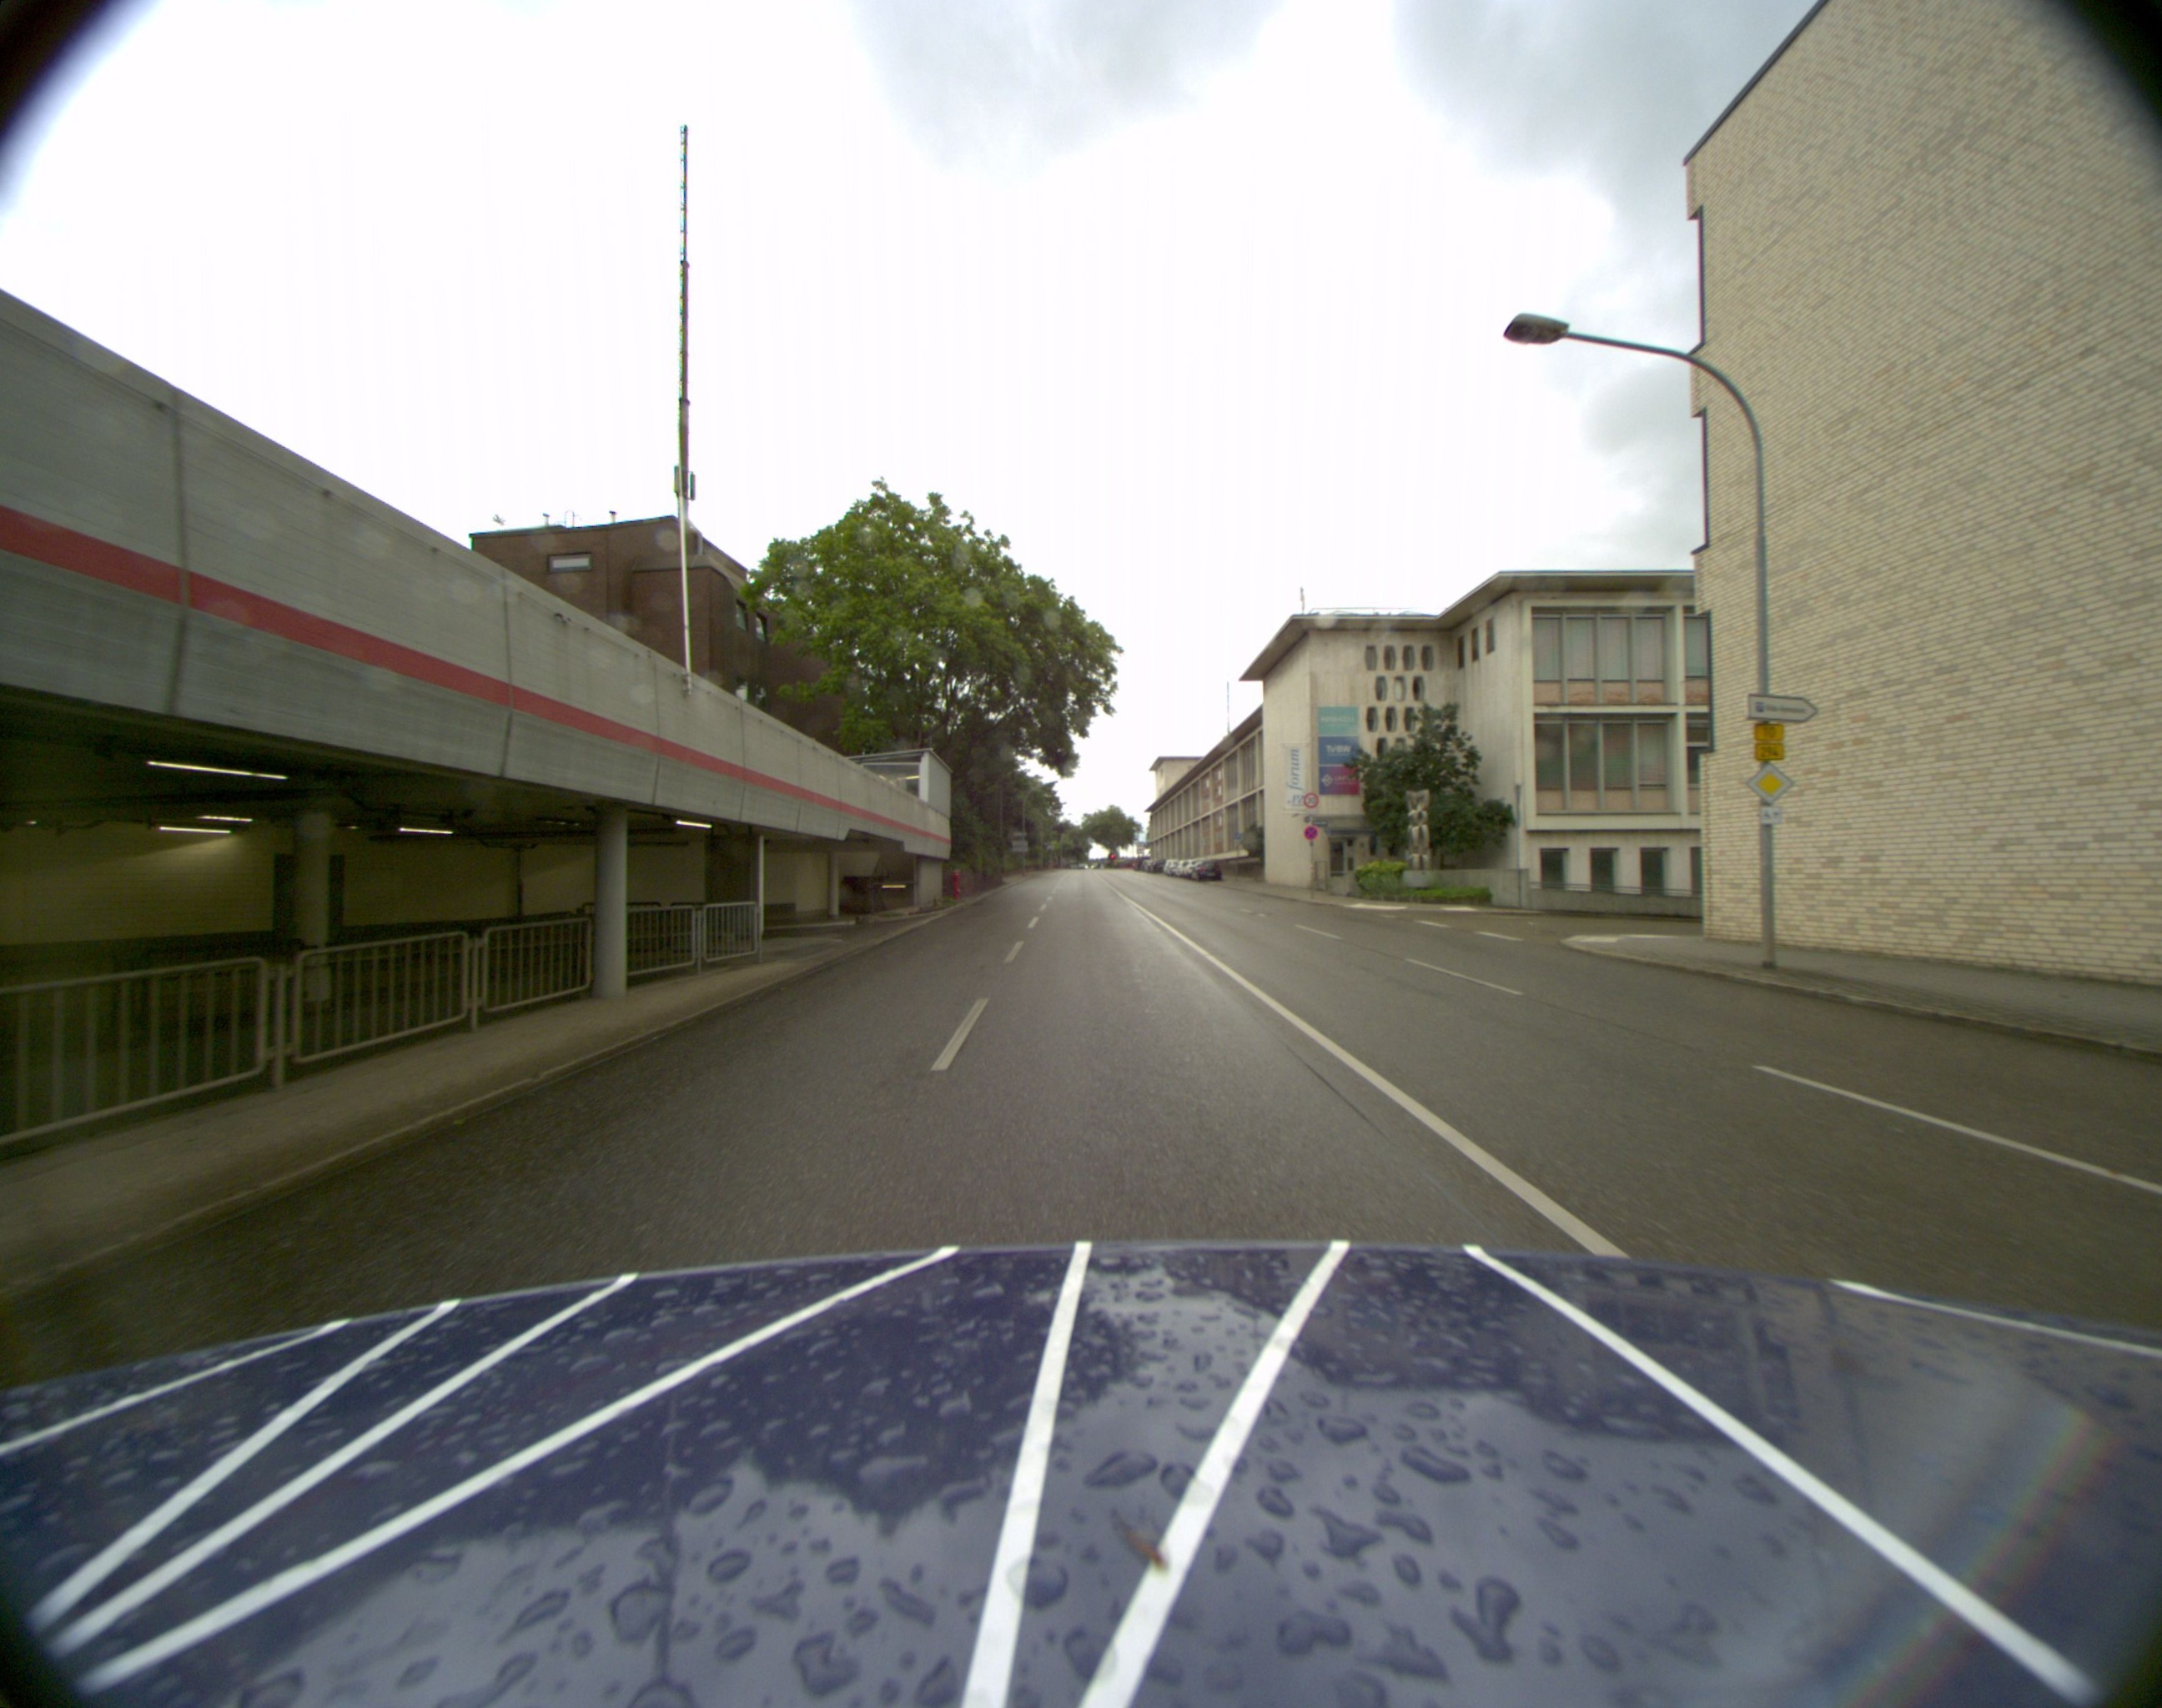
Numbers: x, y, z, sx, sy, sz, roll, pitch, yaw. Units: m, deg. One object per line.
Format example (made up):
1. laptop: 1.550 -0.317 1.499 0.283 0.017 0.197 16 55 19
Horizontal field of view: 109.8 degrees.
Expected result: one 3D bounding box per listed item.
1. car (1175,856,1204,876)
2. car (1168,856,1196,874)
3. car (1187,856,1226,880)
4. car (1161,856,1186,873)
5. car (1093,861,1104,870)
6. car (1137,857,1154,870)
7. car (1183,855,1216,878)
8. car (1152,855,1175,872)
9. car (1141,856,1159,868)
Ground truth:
1. car: 9.458 1.038 66.422 1.998 1.503 4.000 -3 1 1
2. car: 9.476 1.037 71.529 1.998 1.482 4.185 -3 1 0
3. car: 9.127 1.000 55.597 1.999 1.520 3.999 -3 1 -2
4. car: 9.451 1.092 77.811 1.999 1.521 3.999 -3 1 -1
5. car: 4.067 2.685 176.814 1.805 2.002 3.997 -3 1 -6
6. car: 9.064 1.336 107.069 1.999 1.637 3.998 -4 2 -1
7. car: 9.439 0.984 60.907 1.998 1.632 3.999 -3 1 0
8. car: 9.326 1.060 85.980 1.999 1.701 3.999 -3 1 -1
9. car: 9.295 1.041 102.427 1.999 1.528 3.999 -3 1 0
